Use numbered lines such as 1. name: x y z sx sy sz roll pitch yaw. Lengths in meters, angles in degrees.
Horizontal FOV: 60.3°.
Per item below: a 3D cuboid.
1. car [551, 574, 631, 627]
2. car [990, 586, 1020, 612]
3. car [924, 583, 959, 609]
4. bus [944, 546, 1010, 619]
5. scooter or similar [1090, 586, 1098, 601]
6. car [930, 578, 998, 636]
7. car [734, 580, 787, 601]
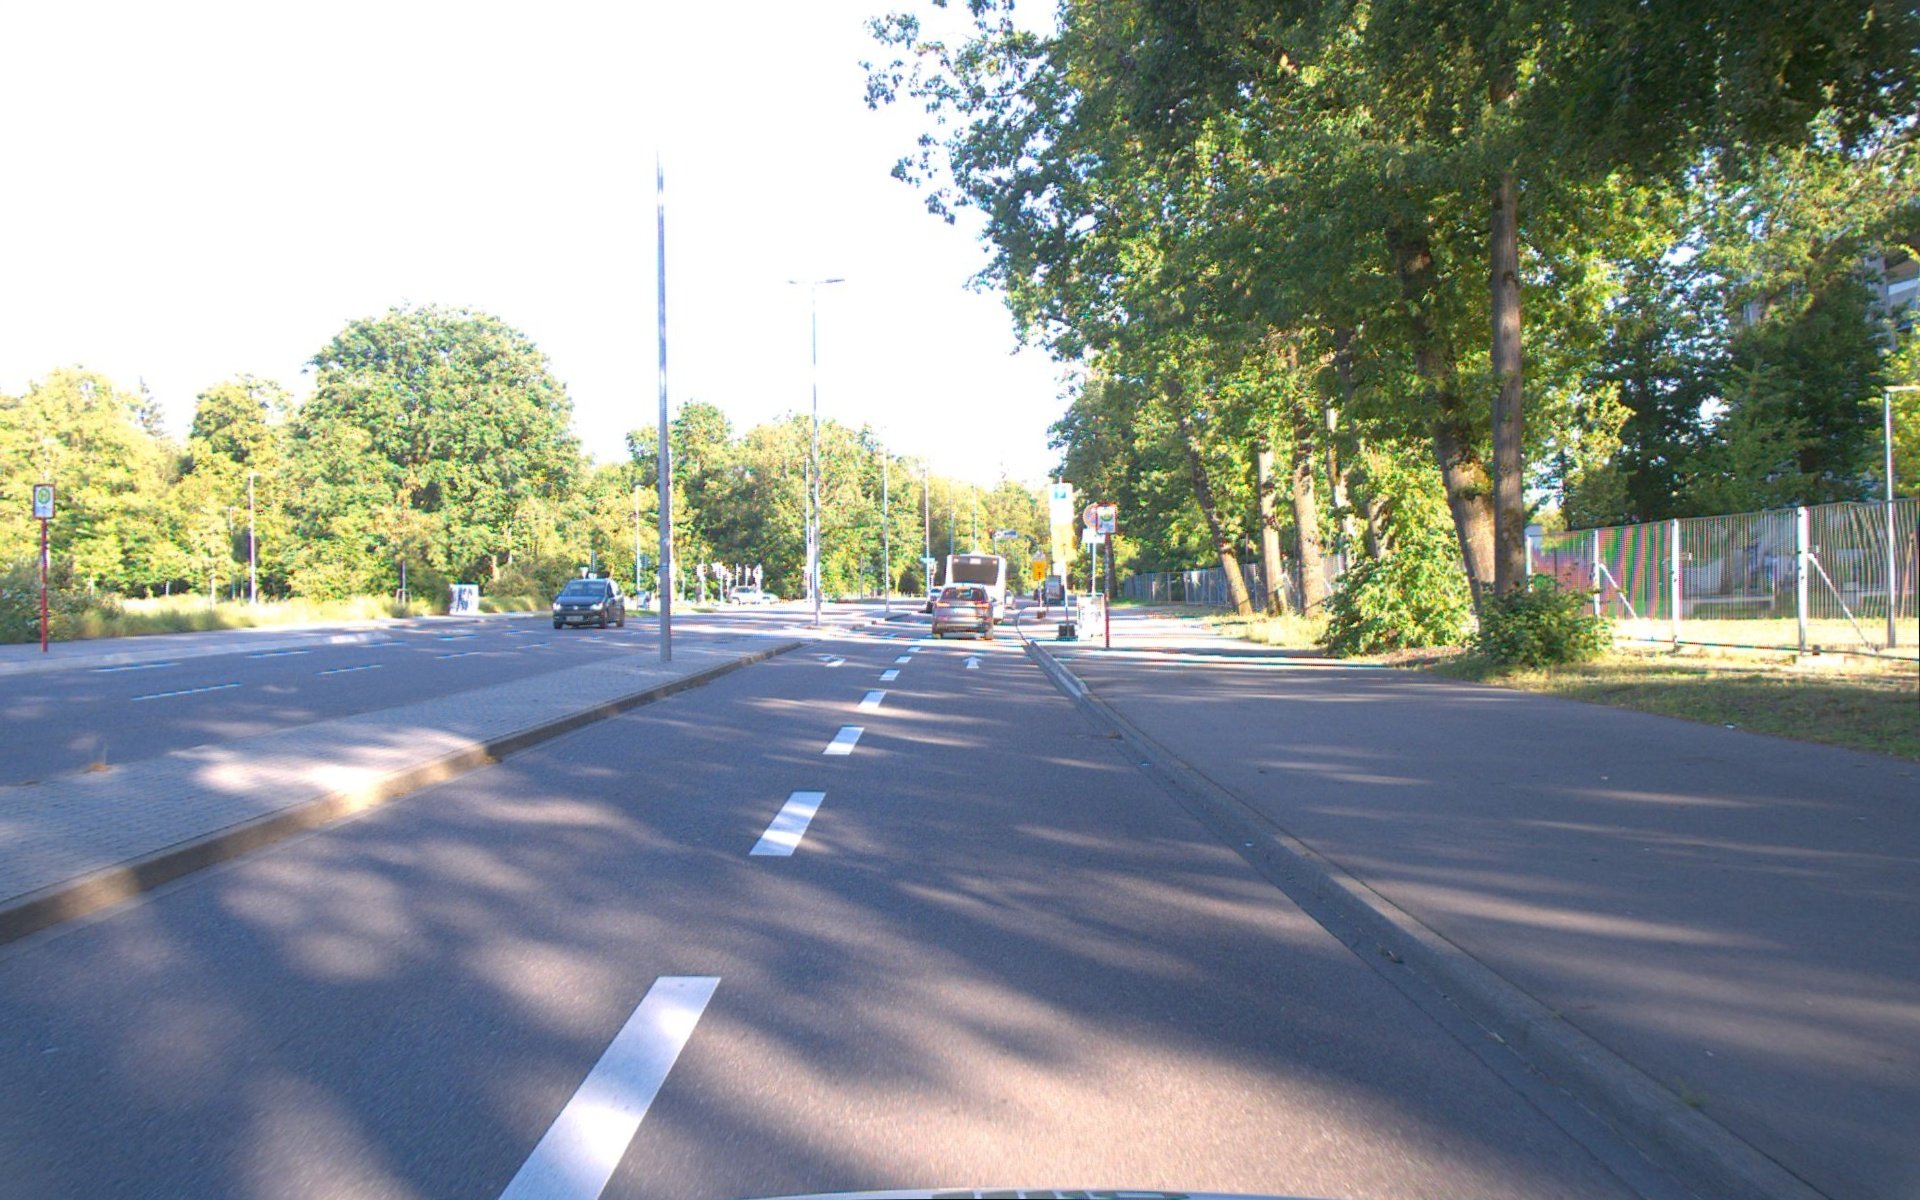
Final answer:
1. car: -12.824 -0.021 57.688 1.747 1.721 4.702 1 1 -1
2. car: 3.213 -0.058 116.379 1.870 1.758 4.581 1 0 4
3. car: -1.074 -0.254 98.040 1.798 1.545 4.002 0 1 3
4. bus: 0.843 -0.745 73.892 2.540 3.041 9.330 1 0 3
5. scooter or similar: 13.723 -0.683 169.303 0.497 1.469 2.021 -1 0 -2
6. car: 0.165 0.180 50.353 1.859 1.660 4.002 1 1 3
7. car: -16.521 -0.806 137.135 4.131 1.612 2.105 -2 0 1
